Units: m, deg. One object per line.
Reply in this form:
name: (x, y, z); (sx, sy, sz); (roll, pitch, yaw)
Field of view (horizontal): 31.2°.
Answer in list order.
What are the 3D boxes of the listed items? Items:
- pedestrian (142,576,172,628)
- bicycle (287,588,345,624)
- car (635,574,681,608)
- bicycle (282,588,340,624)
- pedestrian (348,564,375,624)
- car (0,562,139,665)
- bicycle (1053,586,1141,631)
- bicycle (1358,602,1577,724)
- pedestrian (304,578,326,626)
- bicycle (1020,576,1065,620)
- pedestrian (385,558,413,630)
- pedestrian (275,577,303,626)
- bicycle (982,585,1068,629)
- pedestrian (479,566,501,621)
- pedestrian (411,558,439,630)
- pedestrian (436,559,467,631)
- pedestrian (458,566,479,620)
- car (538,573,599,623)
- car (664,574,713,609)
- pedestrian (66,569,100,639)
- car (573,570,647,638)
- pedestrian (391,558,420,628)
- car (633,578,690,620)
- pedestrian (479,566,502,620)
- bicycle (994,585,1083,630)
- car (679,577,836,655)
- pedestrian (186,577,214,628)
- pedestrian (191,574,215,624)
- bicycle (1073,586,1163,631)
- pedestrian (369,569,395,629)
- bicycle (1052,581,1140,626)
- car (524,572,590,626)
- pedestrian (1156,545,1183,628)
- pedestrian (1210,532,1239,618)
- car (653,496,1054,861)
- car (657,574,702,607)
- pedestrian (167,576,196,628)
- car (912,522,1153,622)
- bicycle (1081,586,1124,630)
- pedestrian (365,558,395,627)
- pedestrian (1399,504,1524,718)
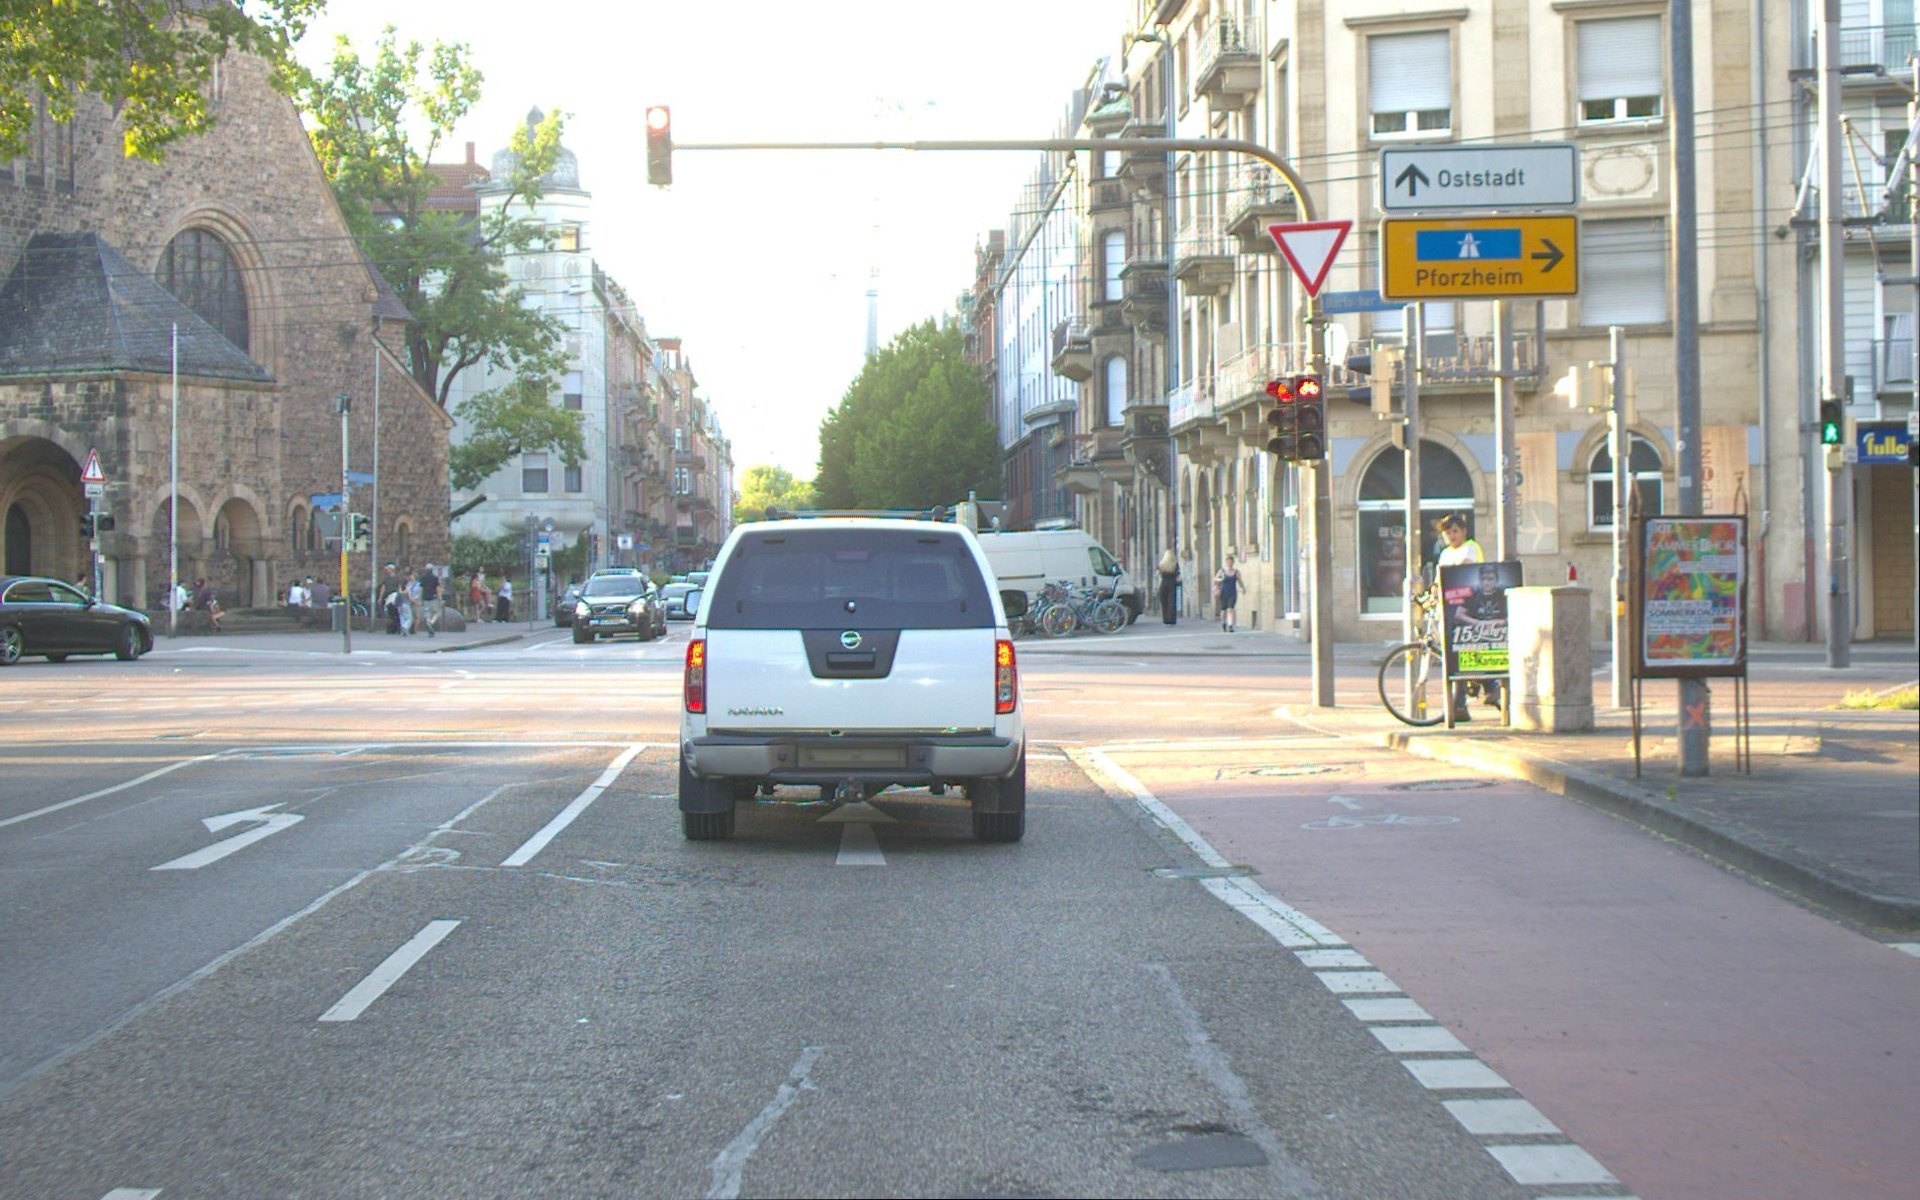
pedestrian: (-20.291, 0.049, 86.898); (0.573, 1.286, 0.486); (0, 1, 14)
bicycle: (-17.512, 0.163, 93.469); (1.500, 0.965, 0.395); (0, 1, 10)
car: (-13.748, -0.419, 156.221); (1.993, 1.501, 3.822); (1, 0, -6)
bicycle: (-17.584, 0.162, 93.136); (1.500, 0.965, 0.395); (0, 1, 10)
pedestrian: (-18.680, -0.186, 107.290); (0.594, 1.880, 0.553); (0, 1, 23)
car: (-15.771, 0.212, 56.419); (1.997, 1.645, 4.257); (0, 1, 33)
bicycle: (3.006, 0.182, 75.486); (1.915, 0.965, 0.546); (-1, 1, 1)
bicycle: (4.168, 0.509, 28.264); (1.691, 0.965, 0.546); (-1, 1, -4)
pedestrian: (-17.276, 0.054, 92.097); (0.491, 1.282, 0.499); (-1, 1, -1)
bicycle: (1.888, -0.052, 78.064); (0.544, 0.965, 1.920); (0, 1, 16)
pedestrian: (-14.768, -0.165, 90.470); (0.593, 1.880, 0.553); (-1, 1, 3)
pedestrian: (-17.996, 0.042, 92.211); (0.573, 1.286, 0.486); (0, 1, 14)
bicycle: (1.444, 0.150, 76.770); (1.915, 0.965, 0.546); (-1, 1, 1)
pedestrian: (-16.338, -0.234, 119.430); (0.552, 1.880, 0.595); (0, 1, 14)
pedestrian: (-14.077, -0.152, 90.469); (0.593, 1.880, 0.553); (-1, 1, 2)
pedestrian: (-13.397, -0.142, 90.602); (0.654, 1.880, 0.585); (-1, 1, 5)
pedestrian: (-16.984, -0.240, 118.855); (0.551, 1.880, 0.595); (-1, 1, -24)
car: (-13.228, -0.092, 116.415); (1.993, 1.645, 3.822); (1, 0, -6)
car: (-11.863, -0.379, 149.911); (1.993, 1.501, 3.822); (1, 0, -6)
pedestrian: (-19.850, 0.093, 77.797); (0.556, 1.578, 0.548); (0, 1, 10)
car: (-8.829, 0.079, 86.704); (1.781, 1.645, 3.822); (1, 0, -6)
pedestrian: (-15.161, -0.194, 94.021); (0.594, 1.880, 0.553); (0, 1, 16)
car: (-11.050, -0.057, 127.119); (1.993, 1.501, 3.822); (1, 0, -6)
pedestrian: (-16.400, -0.240, 120.117); (0.552, 1.880, 0.595); (-1, 1, -35)
bicycle: (1.732, 0.159, 75.957); (1.914, 0.965, 0.546); (-1, 1, -7)
car: (-4.220, 0.316, 72.323); (1.995, 1.525, 4.641); (0, 1, 14)
pedestrian: (-19.258, 0.056, 87.083); (0.498, 1.282, 0.492); (0, 1, 19)
pedestrian: (-19.288, -0.022, 87.598); (0.497, 1.276, 0.493); (-1, 1, -22)
bicycle: (3.500, 0.187, 76.254); (1.916, 0.965, 0.545); (0, 1, 16)
pedestrian: (-18.316, -0.029, 108.887); (0.594, 1.880, 0.553); (0, 1, 22)
bicycle: (2.970, 0.069, 75.206); (1.915, 0.965, 0.546); (-1, 1, 1)
car: (-12.731, -0.032, 108.682); (1.993, 1.645, 3.822); (1, 0, -6)
pedestrian: (4.799, -0.311, 78.758); (0.593, 1.880, 0.647); (-1, 1, 4)
pedestrian: (5.488, -0.522, 71.347); (0.593, 1.762, 0.653); (-1, 1, 4)
car: (-0.488, 0.387, 19.468); (1.866, 1.809, 3.999); (1, 0, 4)
car: (-13.165, -0.442, 160.988); (1.993, 1.501, 3.822); (1, 0, -6)
pedestrian: (-19.918, 0.055, 87.961); (0.573, 1.315, 0.486); (0, 1, 14)
car: (1.759, -0.690, 81.772); (5.806, 2.280, 2.071); (-1, 1, -41)
bicycle: (3.225, 0.170, 77.625); (0.544, 0.965, 1.920); (0, 1, 16)
pedestrian: (-15.896, -0.206, 94.166); (0.594, 1.880, 0.584); (0, 1, 16)
pedestrian: (4.192, 0.082, 28.759); (0.794, 1.762, 0.721); (-1, 1, -15)
